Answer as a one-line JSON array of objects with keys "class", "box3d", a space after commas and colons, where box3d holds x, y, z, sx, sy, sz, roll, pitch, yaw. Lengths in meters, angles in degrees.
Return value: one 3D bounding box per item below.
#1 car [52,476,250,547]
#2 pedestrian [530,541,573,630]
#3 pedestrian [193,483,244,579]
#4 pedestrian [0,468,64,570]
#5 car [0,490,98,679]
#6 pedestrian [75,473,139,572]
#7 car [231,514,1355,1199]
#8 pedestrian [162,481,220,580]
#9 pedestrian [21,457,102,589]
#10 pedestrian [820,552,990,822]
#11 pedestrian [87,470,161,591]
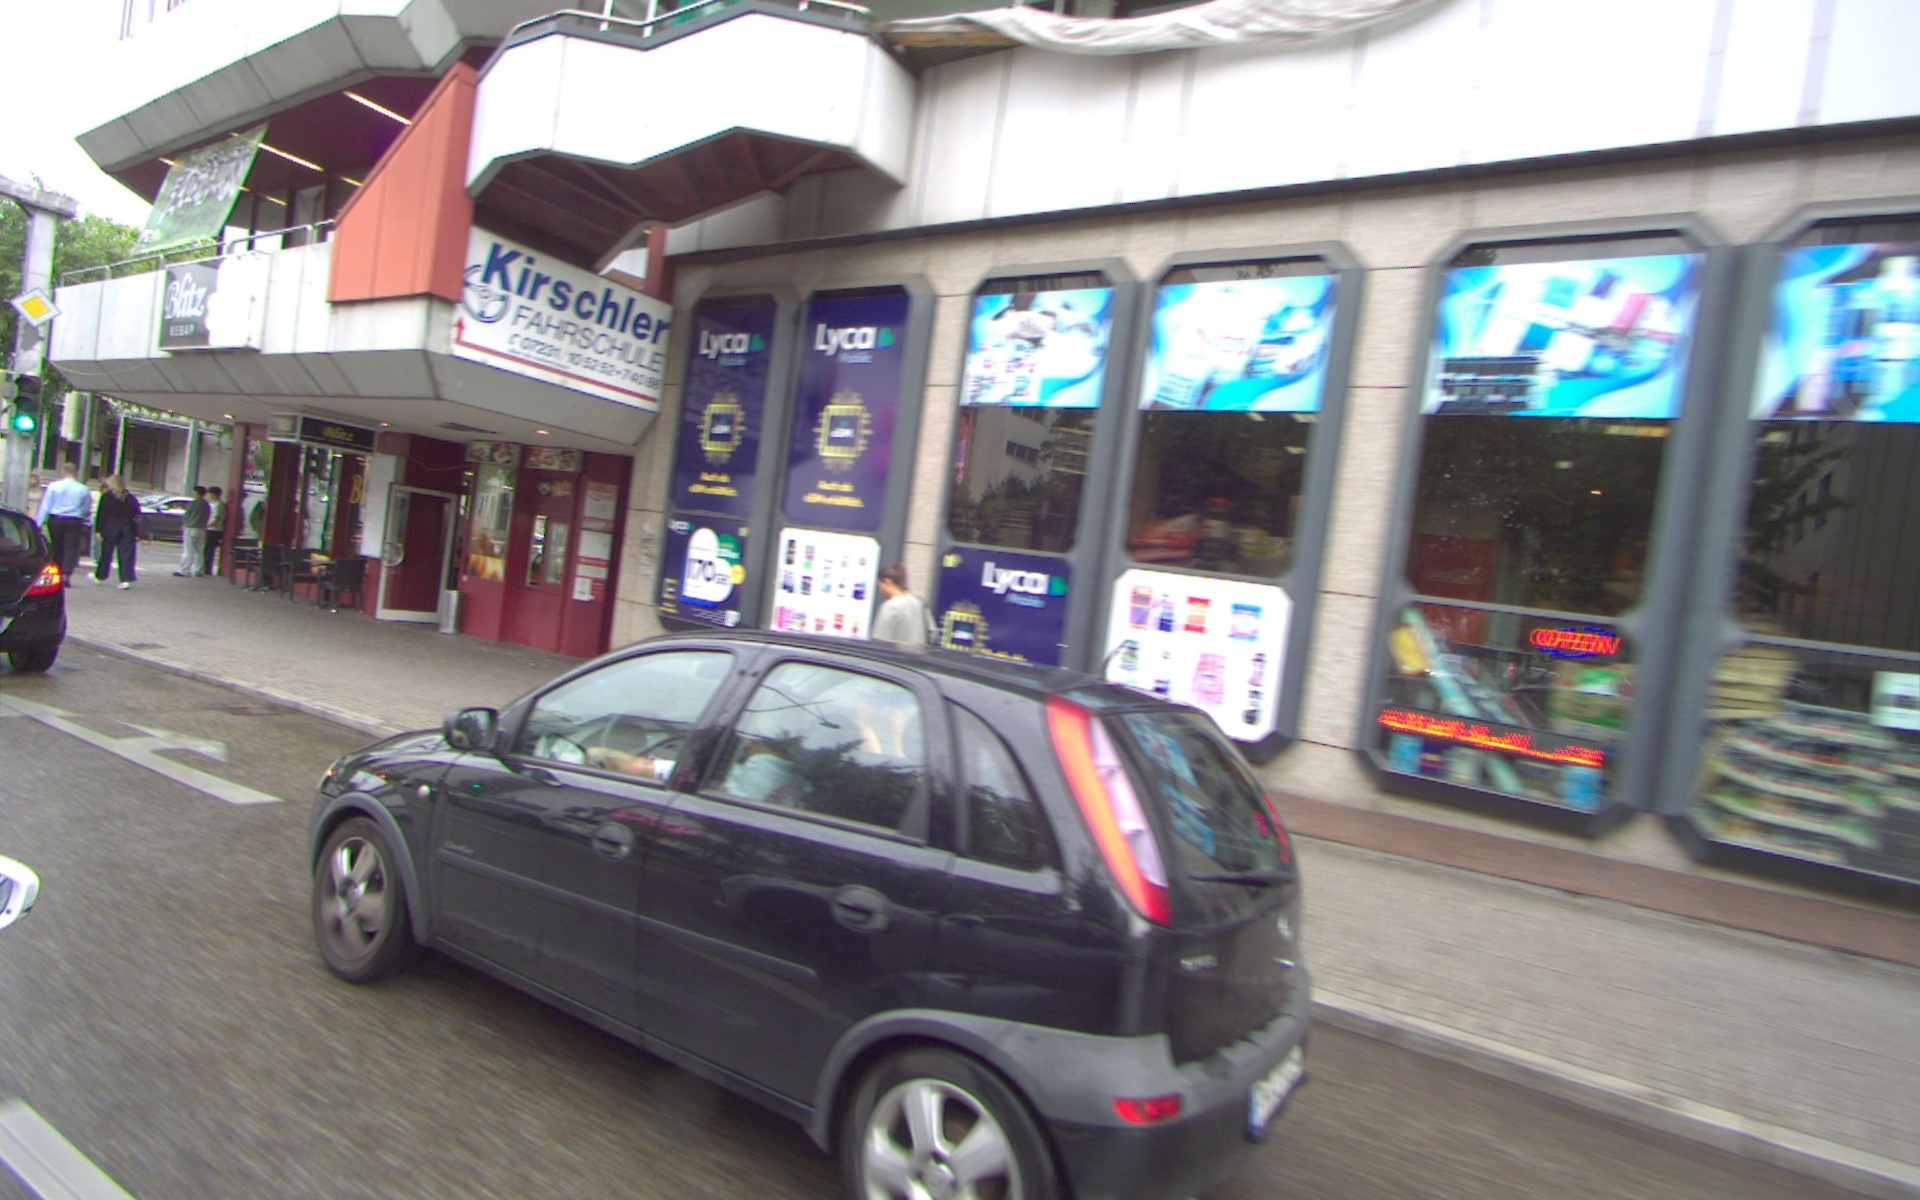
[{"class": "car", "box3d": [-24.079, -2.588, 30.160, 1.754, 1.437, 4.273, 8, 1, 17]}, {"class": "pedestrian", "box3d": [-7.168, -0.253, 17.672, 0.500, 1.506, 0.458, 5, 2, -9]}, {"class": "pedestrian", "box3d": [-14.530, -1.345, 19.715, 0.503, 1.785, 0.526, 6, 0, 31]}, {"class": "pedestrian", "box3d": [-16.628, -1.451, 18.015, 0.925, 1.685, 0.574, 9, 4, 32]}, {"class": "car", "box3d": [-9.437, -0.354, 8.729, 3.678, 1.474, 1.712, 8, 0, 29]}, {"class": "pedestrian", "box3d": [-16.063, -1.458, 18.940, 0.955, 1.729, 0.588, 9, 4, 32]}, {"class": "car", "box3d": [-0.715, 0.697, 3.536, 3.566, 1.458, 1.594, 9, 1, 30]}, {"class": "pedestrian", "box3d": [-14.606, -1.316, 19.109, 0.484, 1.785, 0.596, 6, 0, 31]}, {"class": "pedestrian", "box3d": [-13.529, -1.156, 15.153, 0.835, 1.869, 0.622, 6, 0, 36]}, {"class": "pedestrian", "box3d": [-0.398, 0.584, 7.411, 0.792, 1.805, 0.894, 6, 5, 33]}, {"class": "pedestrian", "box3d": [-13.066, -1.087, 15.725, 0.667, 1.795, 0.622, 6, 0, 36]}]
